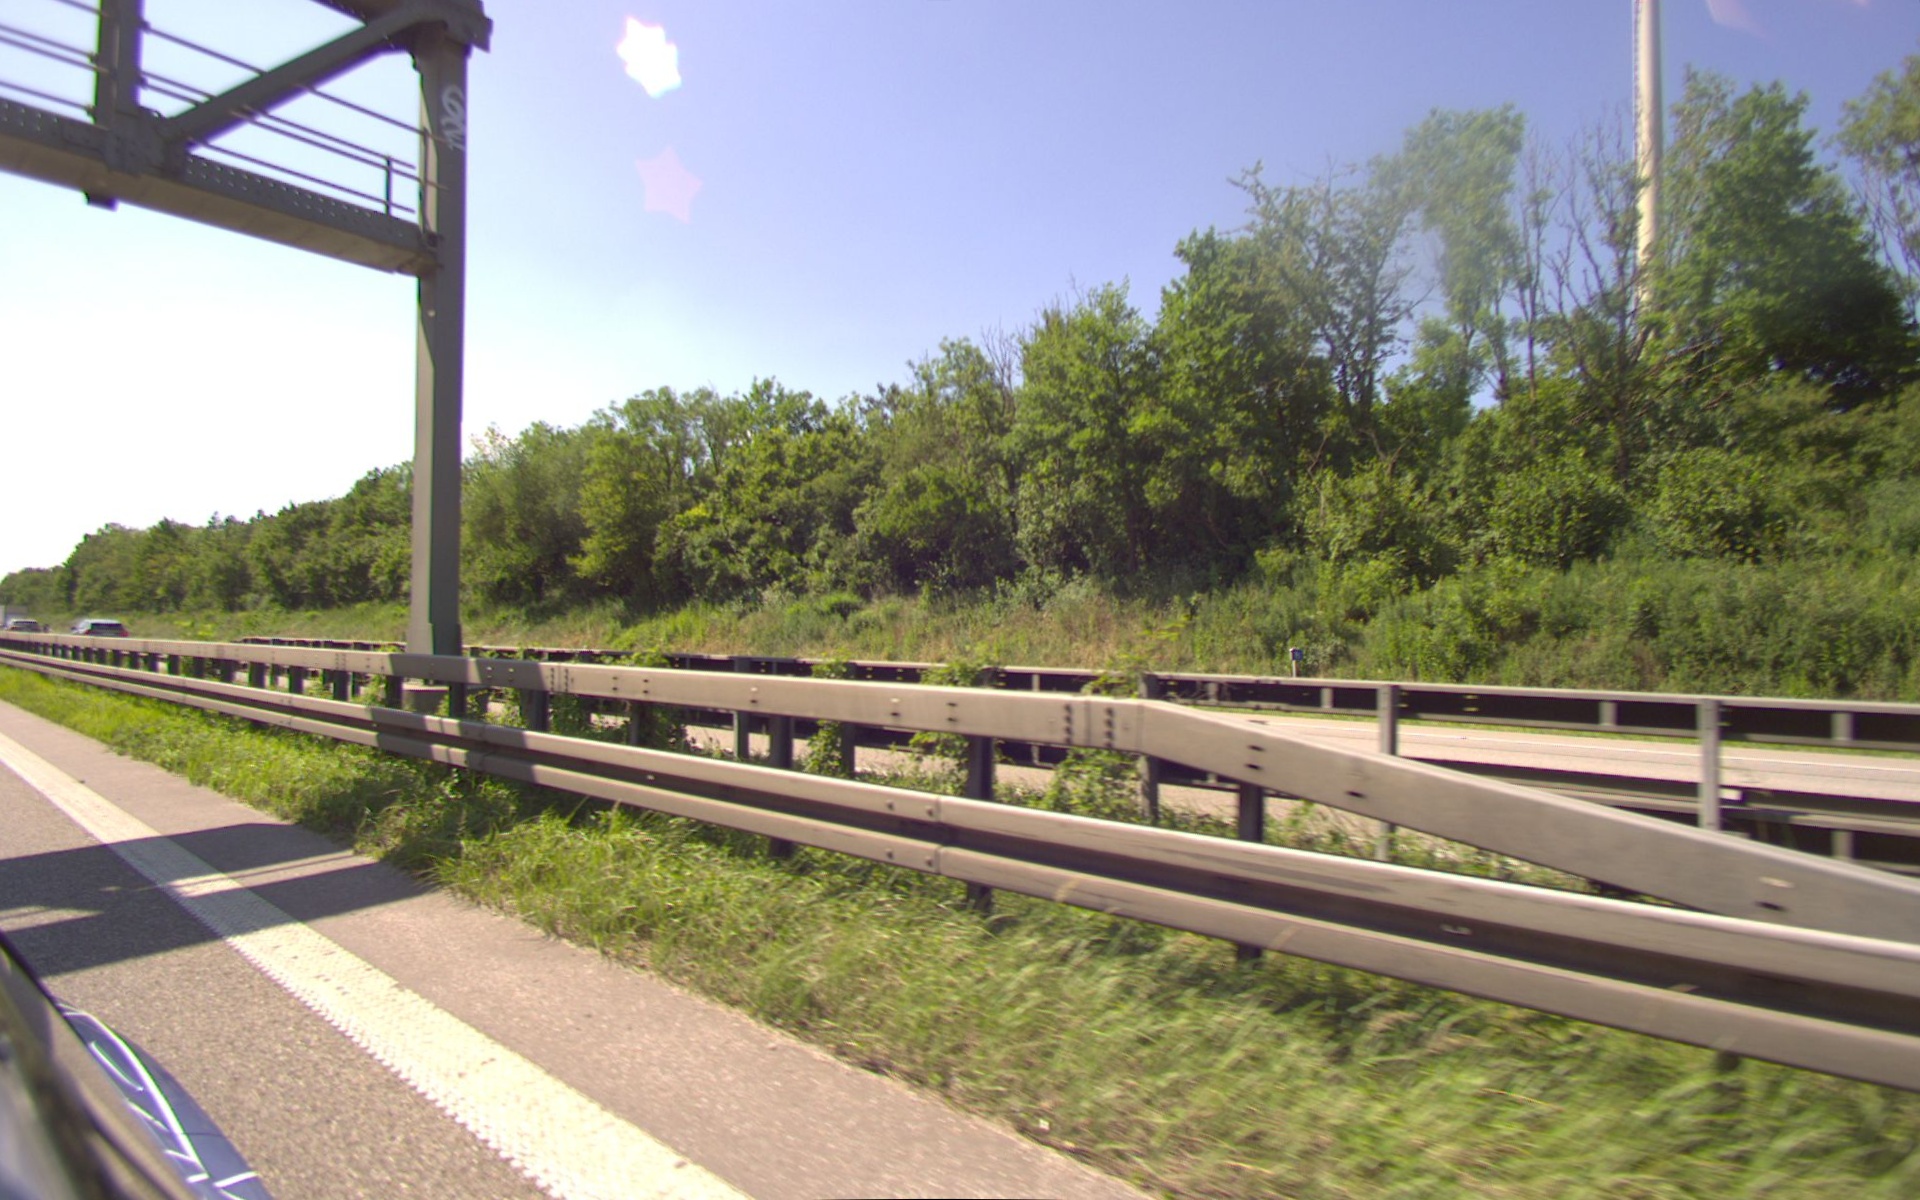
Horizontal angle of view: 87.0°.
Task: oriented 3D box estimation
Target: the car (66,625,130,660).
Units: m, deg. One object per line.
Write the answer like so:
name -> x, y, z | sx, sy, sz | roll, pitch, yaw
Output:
car -> -42.316, 2.079, 49.648 | 4.229, 1.630, 1.743 | -1, -3, 41

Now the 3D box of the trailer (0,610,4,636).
trailer -> -156.156, 3.693, 162.371 | 14.162, 4.089, 2.587 | -2, -5, 41

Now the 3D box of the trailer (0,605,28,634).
trailer -> -134.217, 2.769, 142.987 | 7.689, 3.838, 2.684 | -2, -4, 41

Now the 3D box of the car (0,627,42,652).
car -> -65.594, 2.732, 70.503 | 4.797, 1.655, 1.788 | -1, -4, 41
